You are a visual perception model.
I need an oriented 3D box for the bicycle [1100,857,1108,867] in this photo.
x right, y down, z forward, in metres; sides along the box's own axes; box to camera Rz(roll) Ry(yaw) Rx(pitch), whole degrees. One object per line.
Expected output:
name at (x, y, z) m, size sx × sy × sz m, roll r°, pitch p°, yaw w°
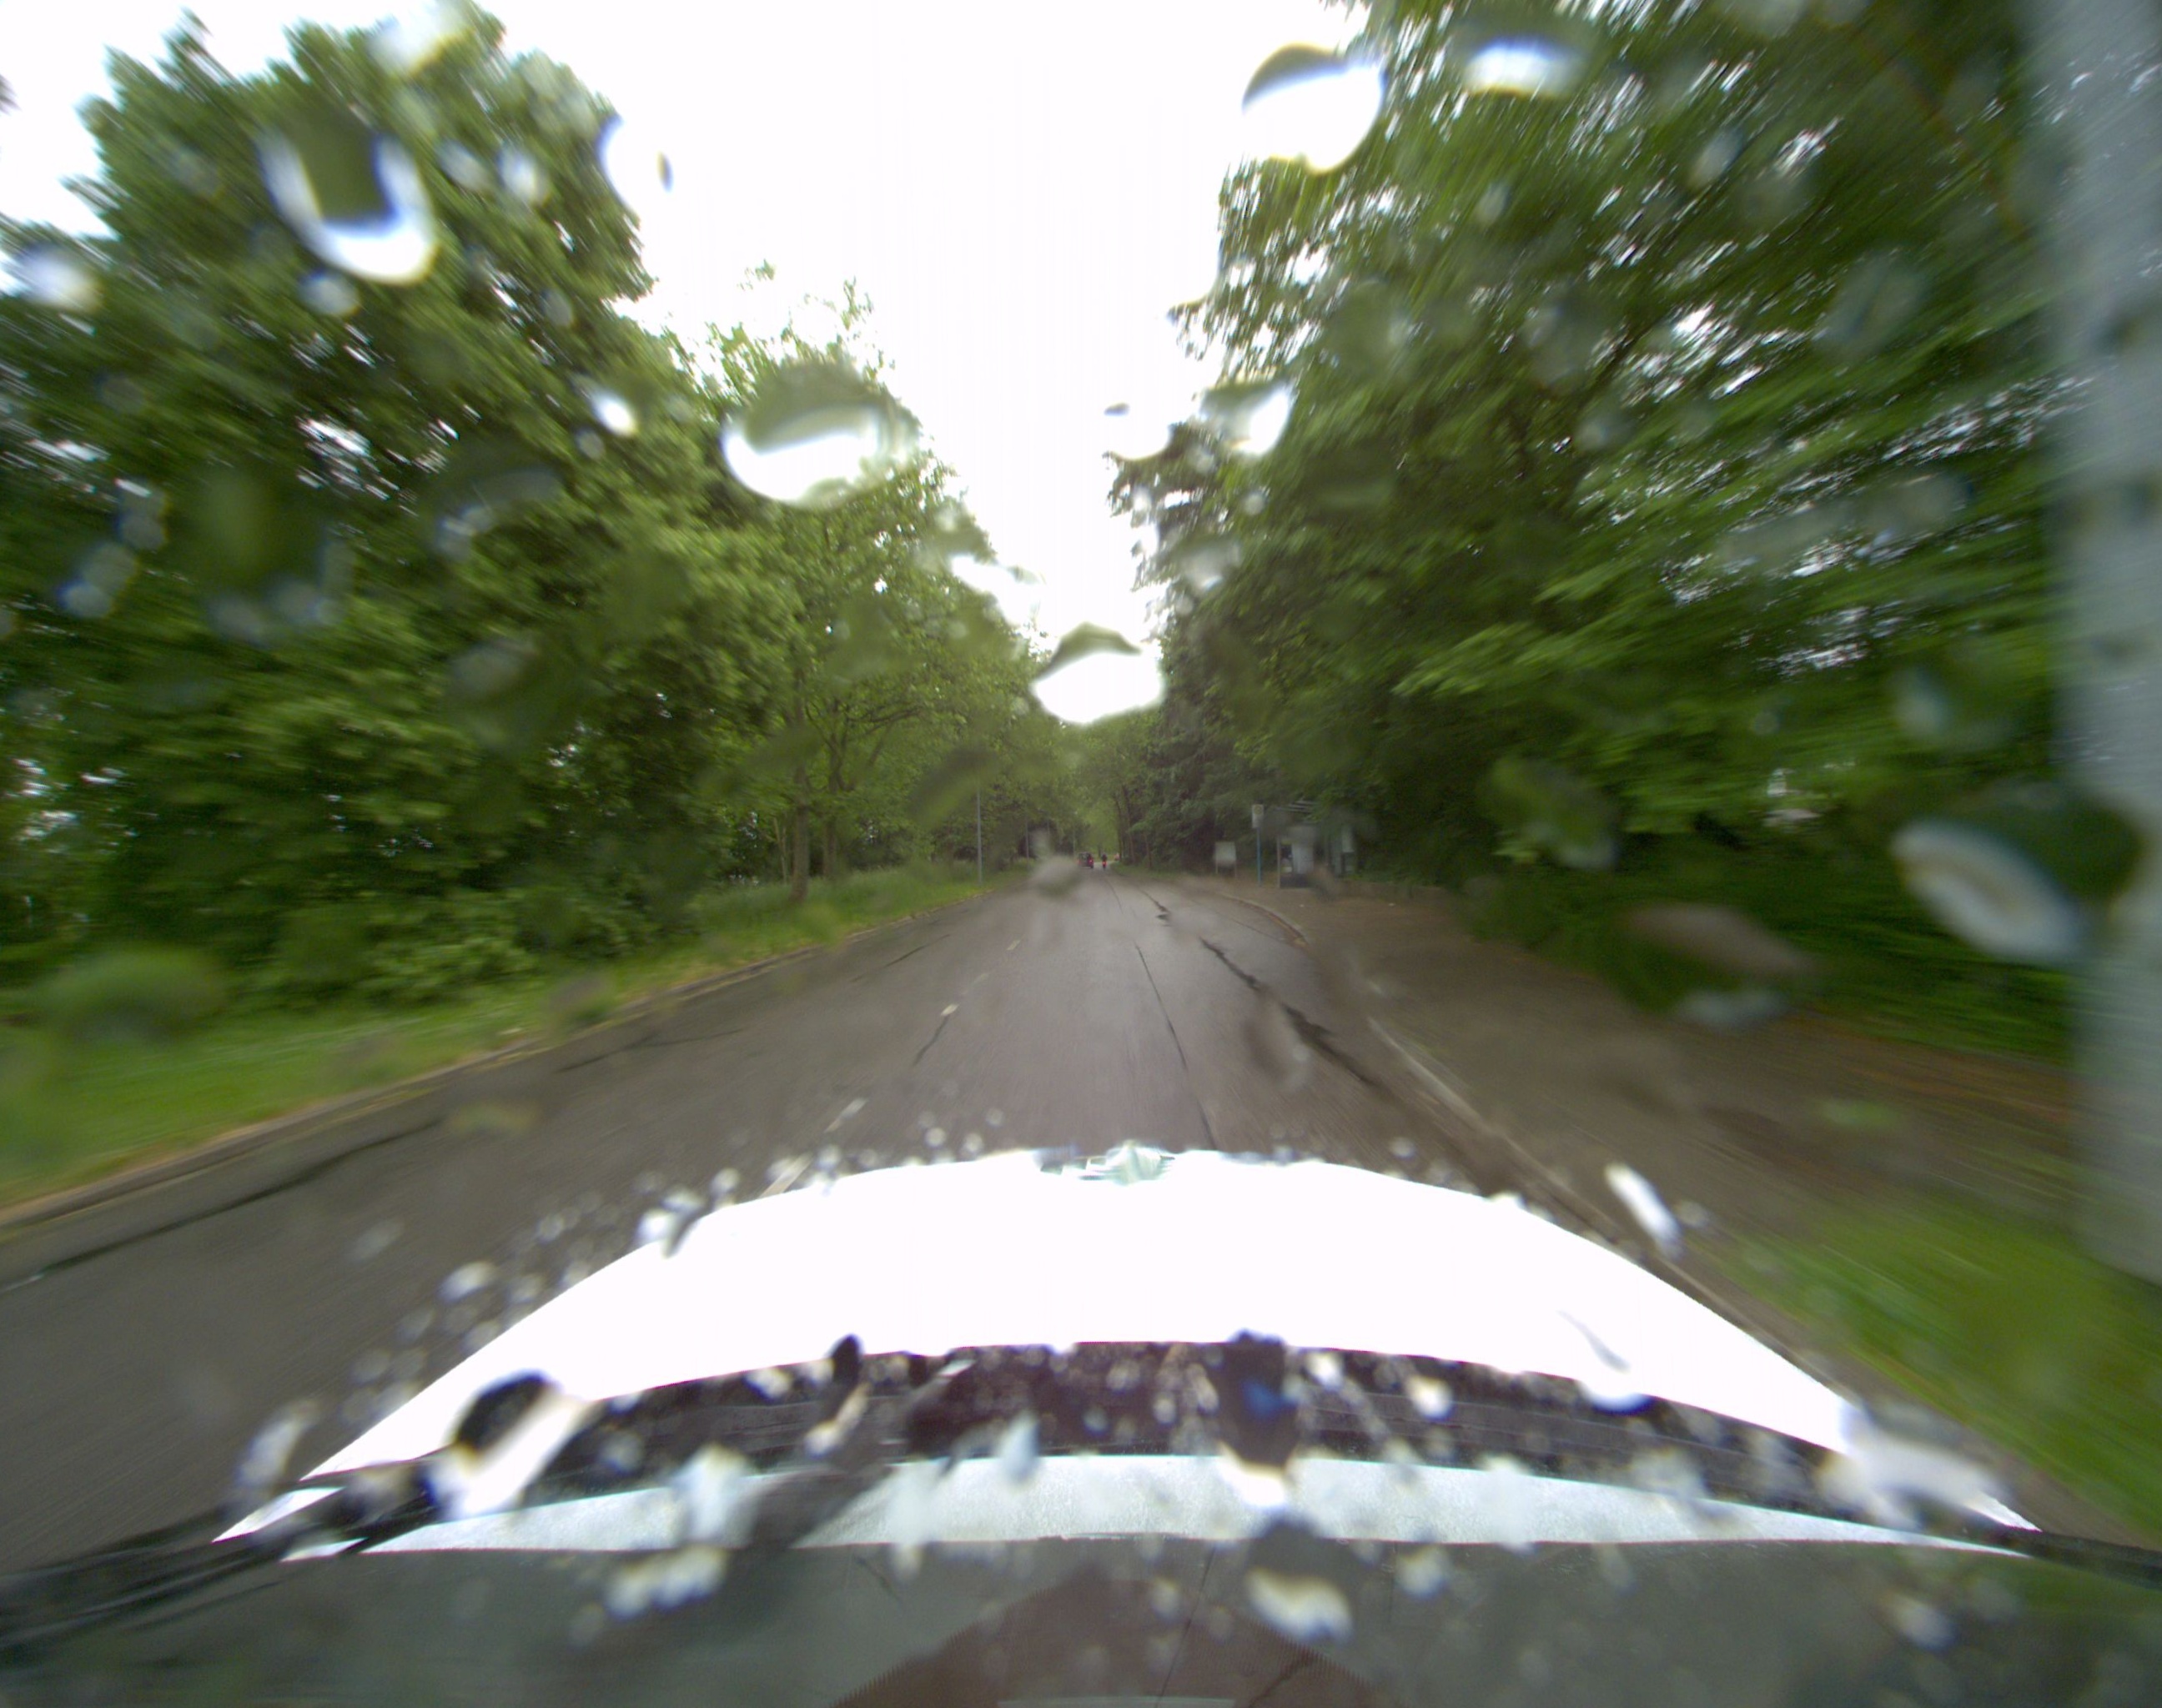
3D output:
bicycle at (2.370, 0.852, 84.673) m, size 0.726 × 0.974 × 2.175 m, roll 0°, pitch 0°, yaw 4°

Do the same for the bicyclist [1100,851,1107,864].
bicyclist at (2.371, 0.359, 84.690) m, size 0.726 × 1.411 × 0.974 m, roll 0°, pitch -1°, yaw 3°

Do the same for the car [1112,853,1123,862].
car at (7.255, 0.711, 163.092) m, size 1.987 × 1.816 × 4.000 m, roll 0°, pitch -1°, yaw 1°

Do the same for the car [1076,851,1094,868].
car at (0.434, 0.644, 93.322) m, size 1.980 × 1.926 × 3.997 m, roll -1°, pitch 0°, yaw -2°
